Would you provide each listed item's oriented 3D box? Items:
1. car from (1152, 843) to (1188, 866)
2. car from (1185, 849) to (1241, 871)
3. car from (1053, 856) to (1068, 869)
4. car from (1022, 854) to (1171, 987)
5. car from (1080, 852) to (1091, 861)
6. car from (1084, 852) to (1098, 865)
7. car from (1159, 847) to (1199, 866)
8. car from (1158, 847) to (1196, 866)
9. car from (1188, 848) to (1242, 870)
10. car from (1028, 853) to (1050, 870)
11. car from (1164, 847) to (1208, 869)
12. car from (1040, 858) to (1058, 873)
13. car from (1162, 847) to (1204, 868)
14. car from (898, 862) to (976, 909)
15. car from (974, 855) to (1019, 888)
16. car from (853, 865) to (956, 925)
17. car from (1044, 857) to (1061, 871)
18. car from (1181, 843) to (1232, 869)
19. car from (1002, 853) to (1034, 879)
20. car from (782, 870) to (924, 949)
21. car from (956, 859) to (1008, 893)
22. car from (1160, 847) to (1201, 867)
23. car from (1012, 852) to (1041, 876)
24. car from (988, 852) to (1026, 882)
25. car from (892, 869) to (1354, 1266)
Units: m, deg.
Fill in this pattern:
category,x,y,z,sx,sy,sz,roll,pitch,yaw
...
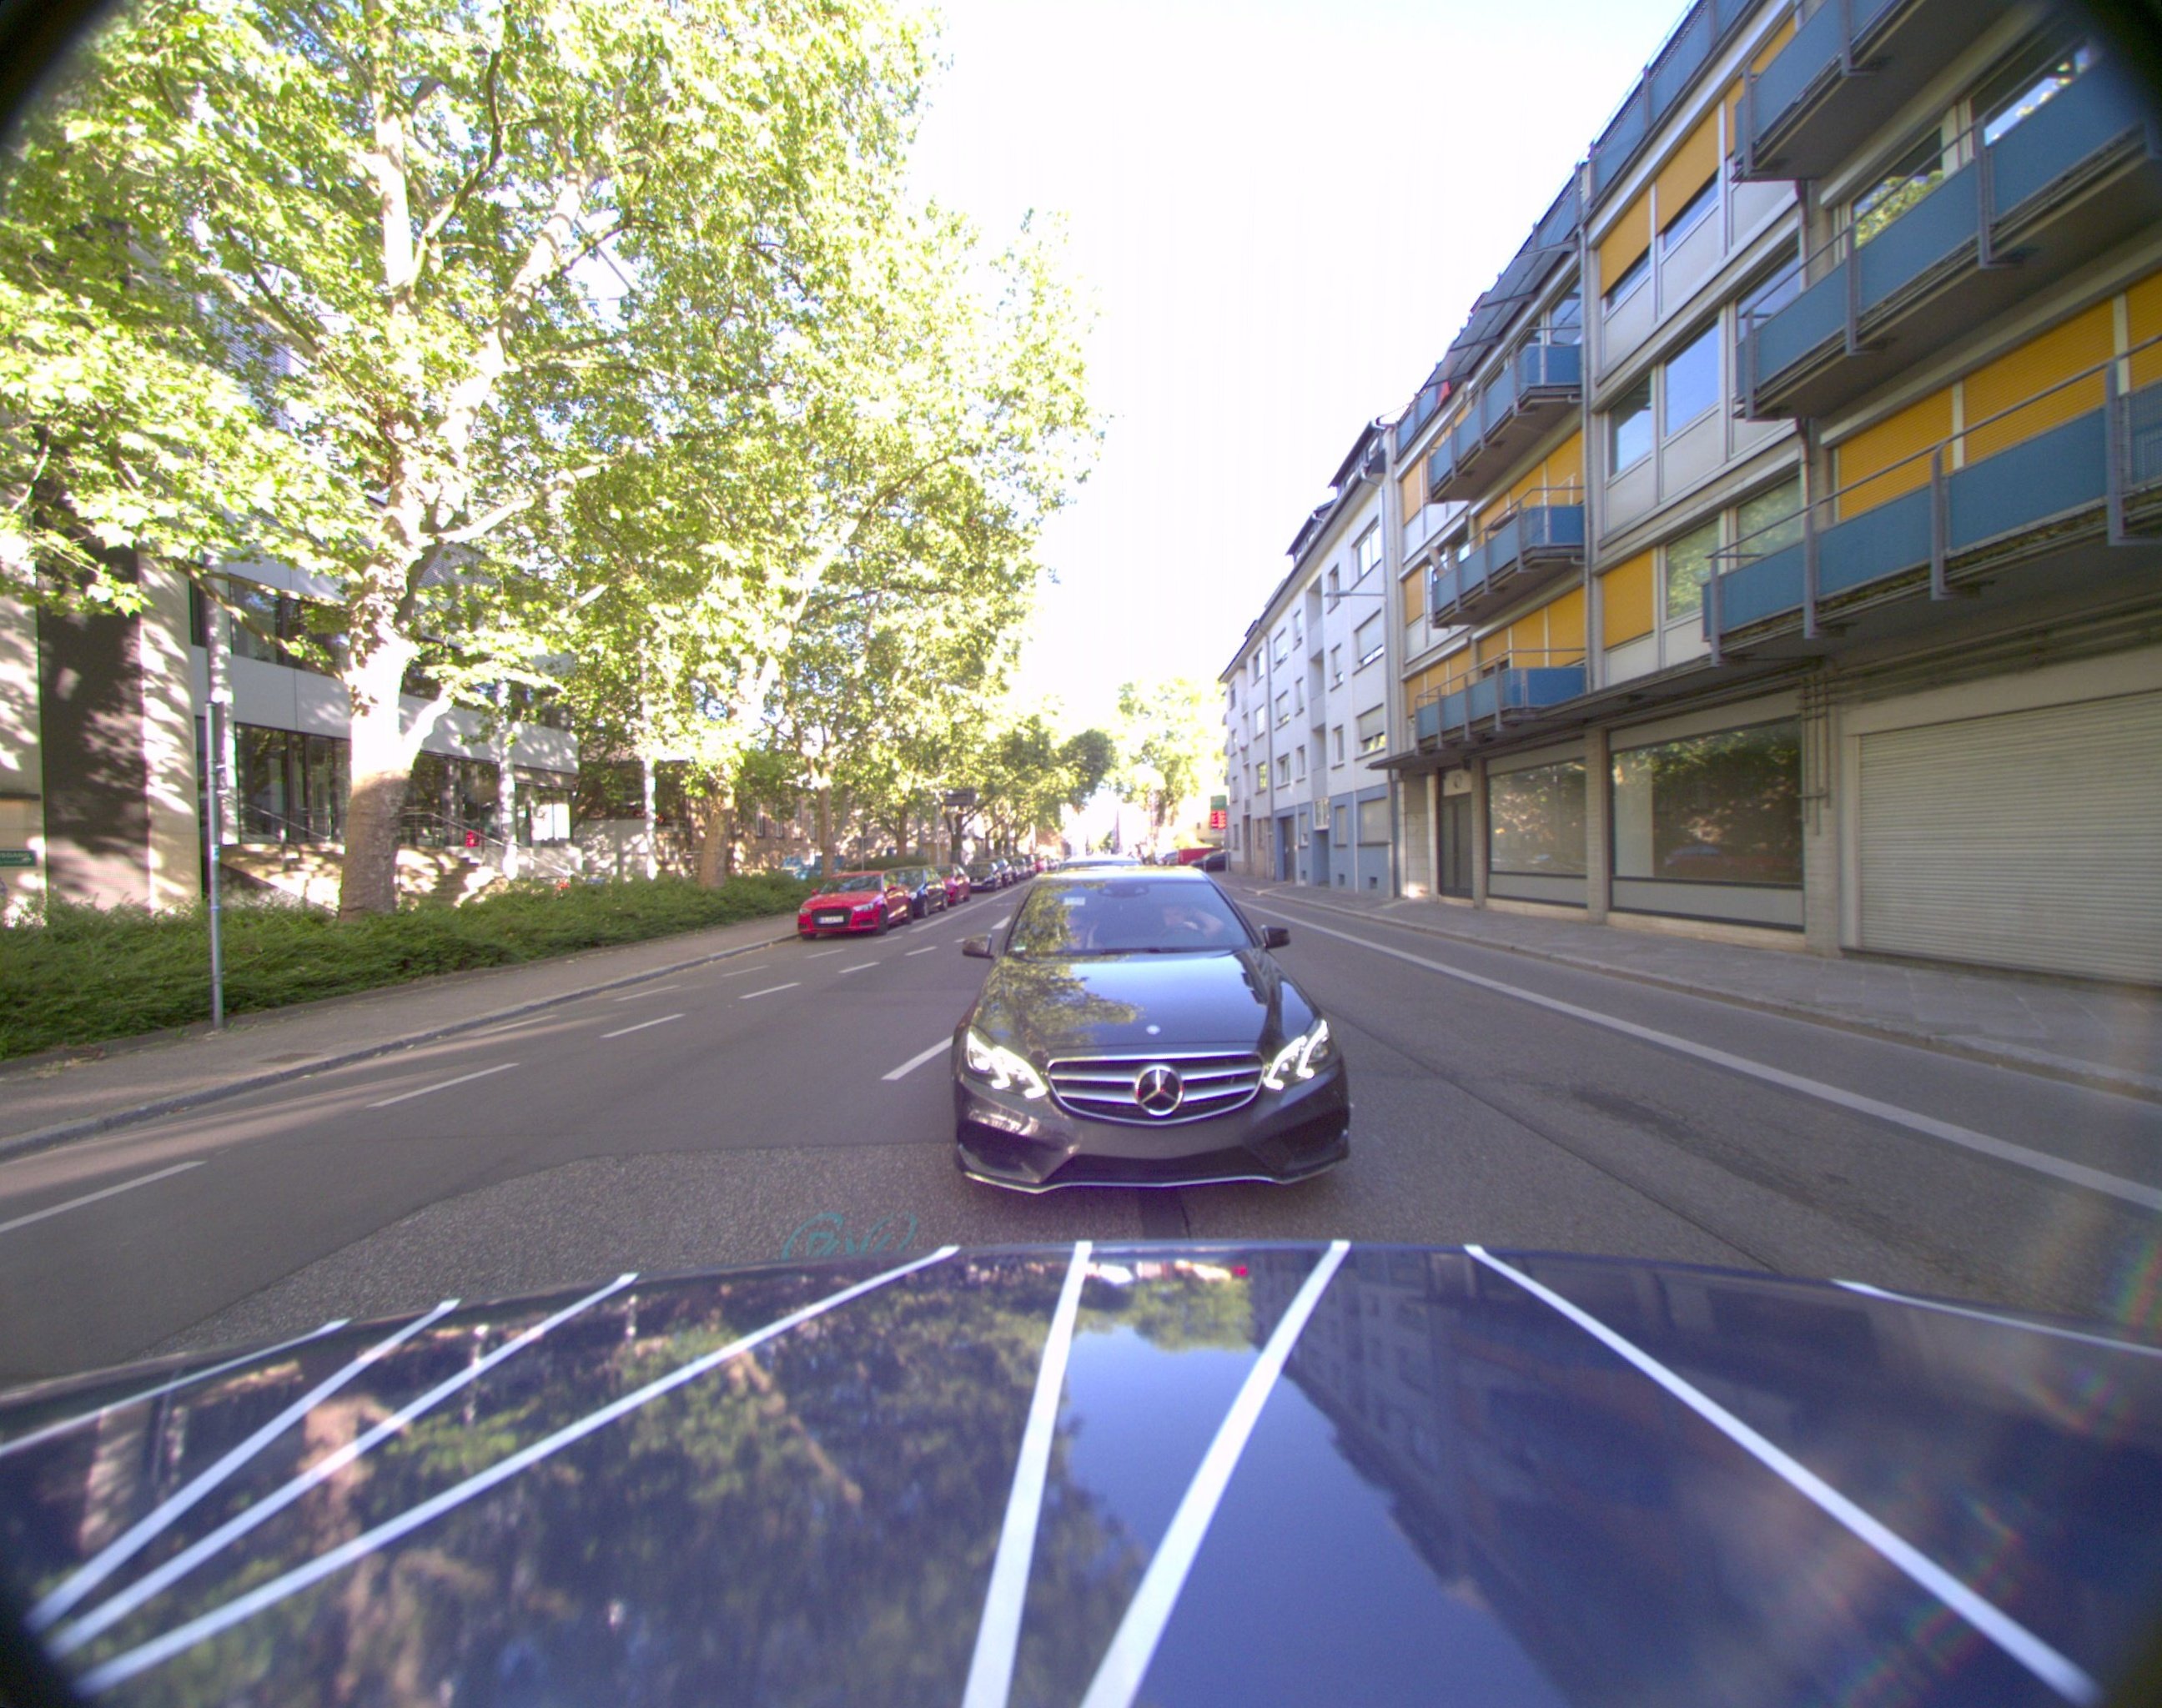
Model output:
category,x,y,z,sx,sy,sz,roll,pitch,yaw
car,10.494,0.007,89.490,3.996,2.505,2.000,-2,1,2
car,10.178,0.426,58.854,3.996,1.543,2.000,-2,1,2
car,-2.817,1.113,105.174,1.866,1.632,4.481,-2,0,1
car,0.224,0.859,11.914,1.866,1.630,4.303,-2,0,1
car,0.893,0.439,142.779,1.866,1.632,4.481,-2,0,1
car,1.442,0.625,105.663,1.866,1.632,4.481,-2,0,1
car,10.595,0.278,82.469,3.996,1.936,2.000,-2,1,2
car,10.740,0.245,84.963,3.996,1.936,2.000,-2,1,2
car,10.719,0.380,61.176,3.996,1.543,2.000,-2,1,2
car,-4.194,0.706,76.262,1.866,1.632,4.481,-2,0,1
car,10.252,0.380,74.488,3.996,1.936,2.000,-2,1,2
car,-3.760,1.322,89.969,1.866,1.632,4.481,-2,0,1
car,10.336,0.348,77.130,3.996,1.936,2.000,-2,1,2
car,-5.087,1.066,27.409,1.866,1.442,4.481,-2,0,1
car,-4.619,0.908,42.191,1.866,1.658,4.481,-2,0,1
car,-5.043,1.125,22.366,1.866,1.442,4.481,-2,0,1
car,-3.649,1.238,96.767,1.866,1.632,4.481,-2,0,1
car,10.552,0.158,64.007,3.996,1.936,2.000,-2,1,2
car,-4.500,0.820,54.784,1.866,1.749,4.481,-2,0,1
car,-5.104,1.178,17.715,1.866,1.442,4.481,-2,0,1
car,-4.754,1.025,37.156,1.866,1.442,4.481,-2,0,1
car,10.465,0.311,79.980,3.996,1.936,2.000,-2,1,2
car,-4.242,0.757,59.740,1.866,1.749,4.481,-2,0,1
car,-4.630,0.785,48.117,1.866,1.749,4.481,-2,0,1
car,0.204,0.934,5.391,1.866,1.492,4.481,-2,0,1
